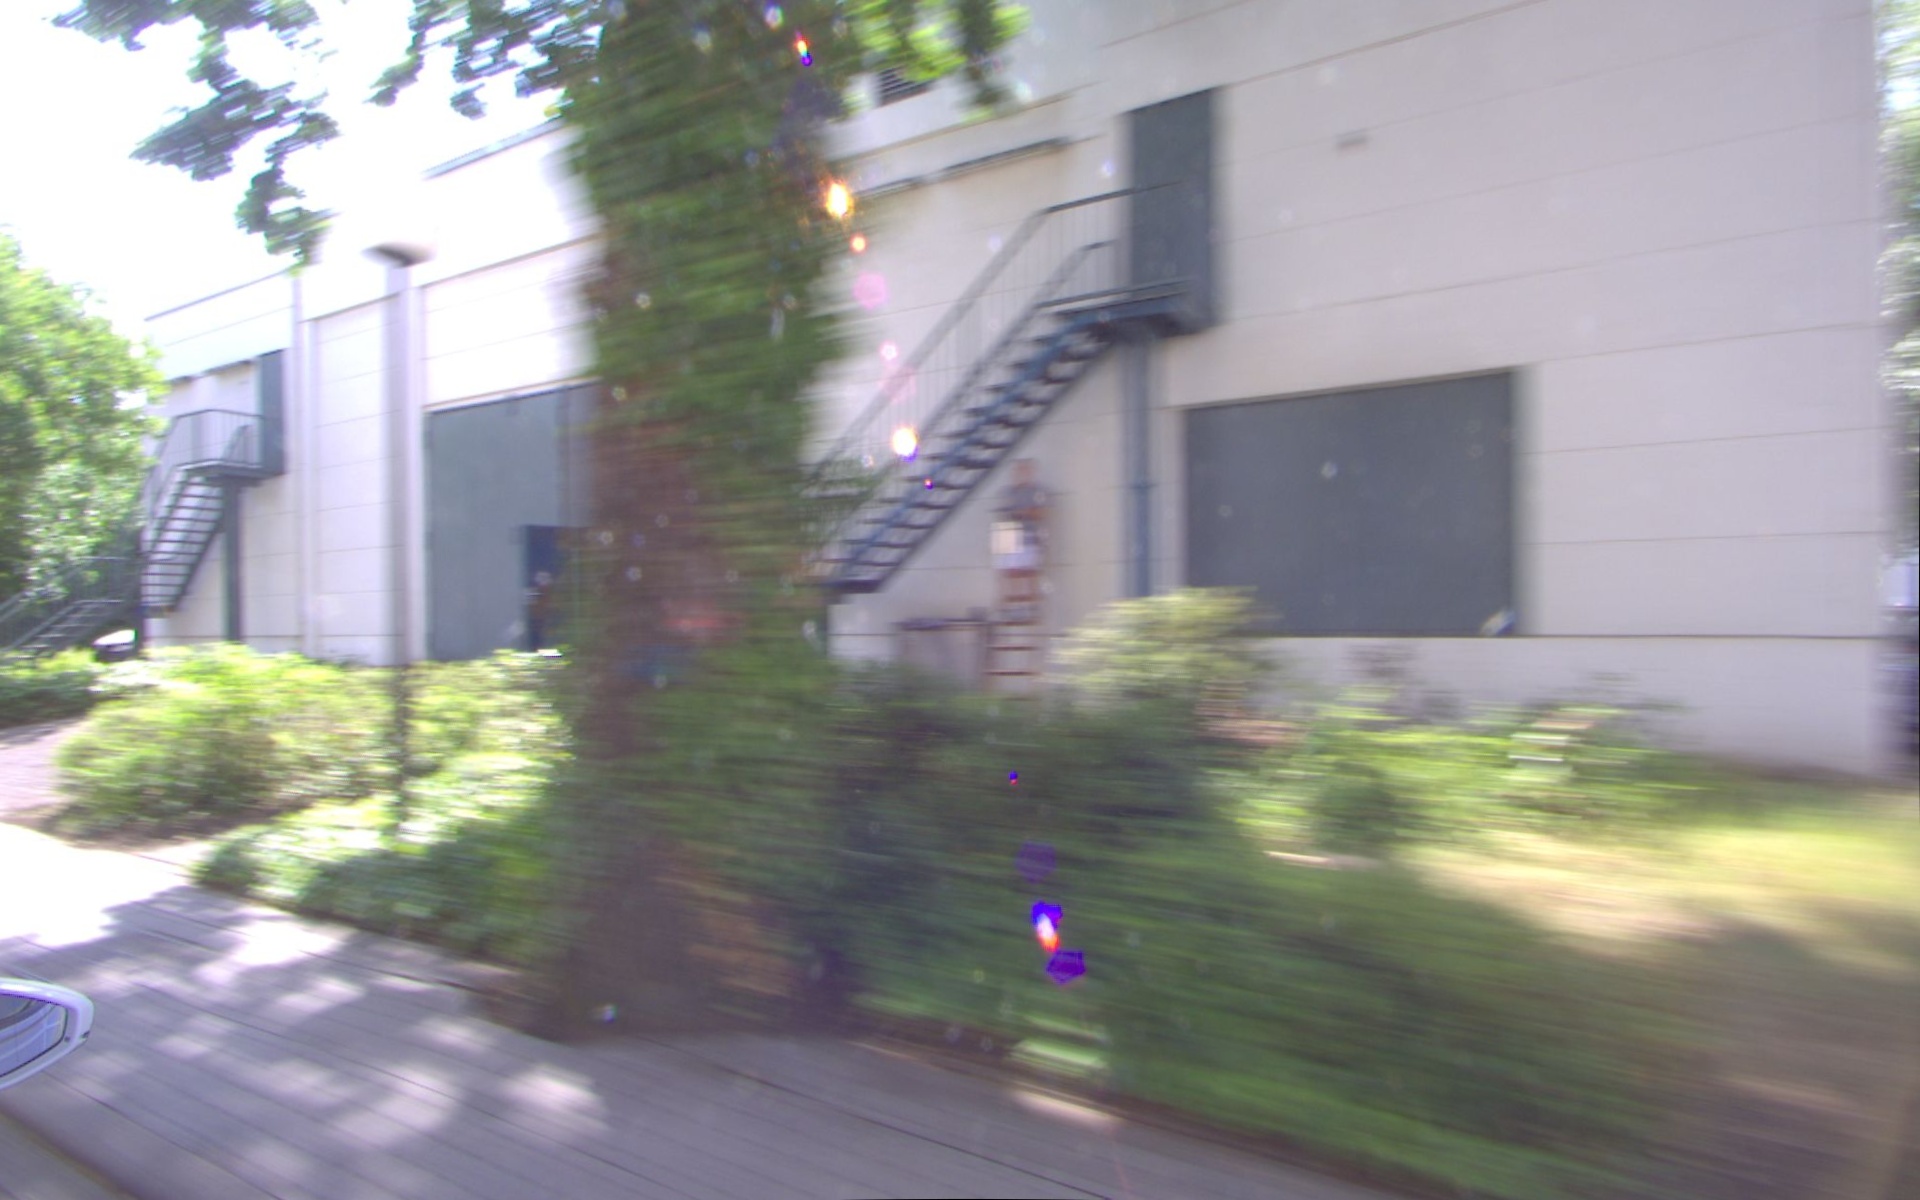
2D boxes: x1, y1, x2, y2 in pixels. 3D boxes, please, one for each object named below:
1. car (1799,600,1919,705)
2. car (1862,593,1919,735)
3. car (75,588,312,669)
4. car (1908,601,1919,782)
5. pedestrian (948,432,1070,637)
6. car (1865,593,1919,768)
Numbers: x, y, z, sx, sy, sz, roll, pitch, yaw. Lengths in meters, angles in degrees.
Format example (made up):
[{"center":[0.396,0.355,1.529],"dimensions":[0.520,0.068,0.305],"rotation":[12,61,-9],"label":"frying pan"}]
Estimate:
[{"center":[15.261,0.810,14.896],"dimensions":[3.940,1.495,1.822],"rotation":[2,1,31],"label":"car"},{"center":[12.564,0.693,11.037],"dimensions":[3.567,1.573,1.625],"rotation":[-1,-1,27],"label":"car"},{"center":[-21.041,0.750,27.728],"dimensions":[2.031,2.040,4.817],"rotation":[-1,-1,31],"label":"car"},{"center":[9.433,0.715,6.750],"dimensions":[4.120,1.496,1.665],"rotation":[-1,-1,30],"label":"car"},{"center":[0.531,-0.640,10.597],"dimensions":[0.936,2.040,0.924],"rotation":[0,0,34],"label":"pedestrian"},{"center":[10.882,0.711,8.865],"dimensions":[3.941,1.599,1.822],"rotation":[-1,0,31],"label":"car"}]
